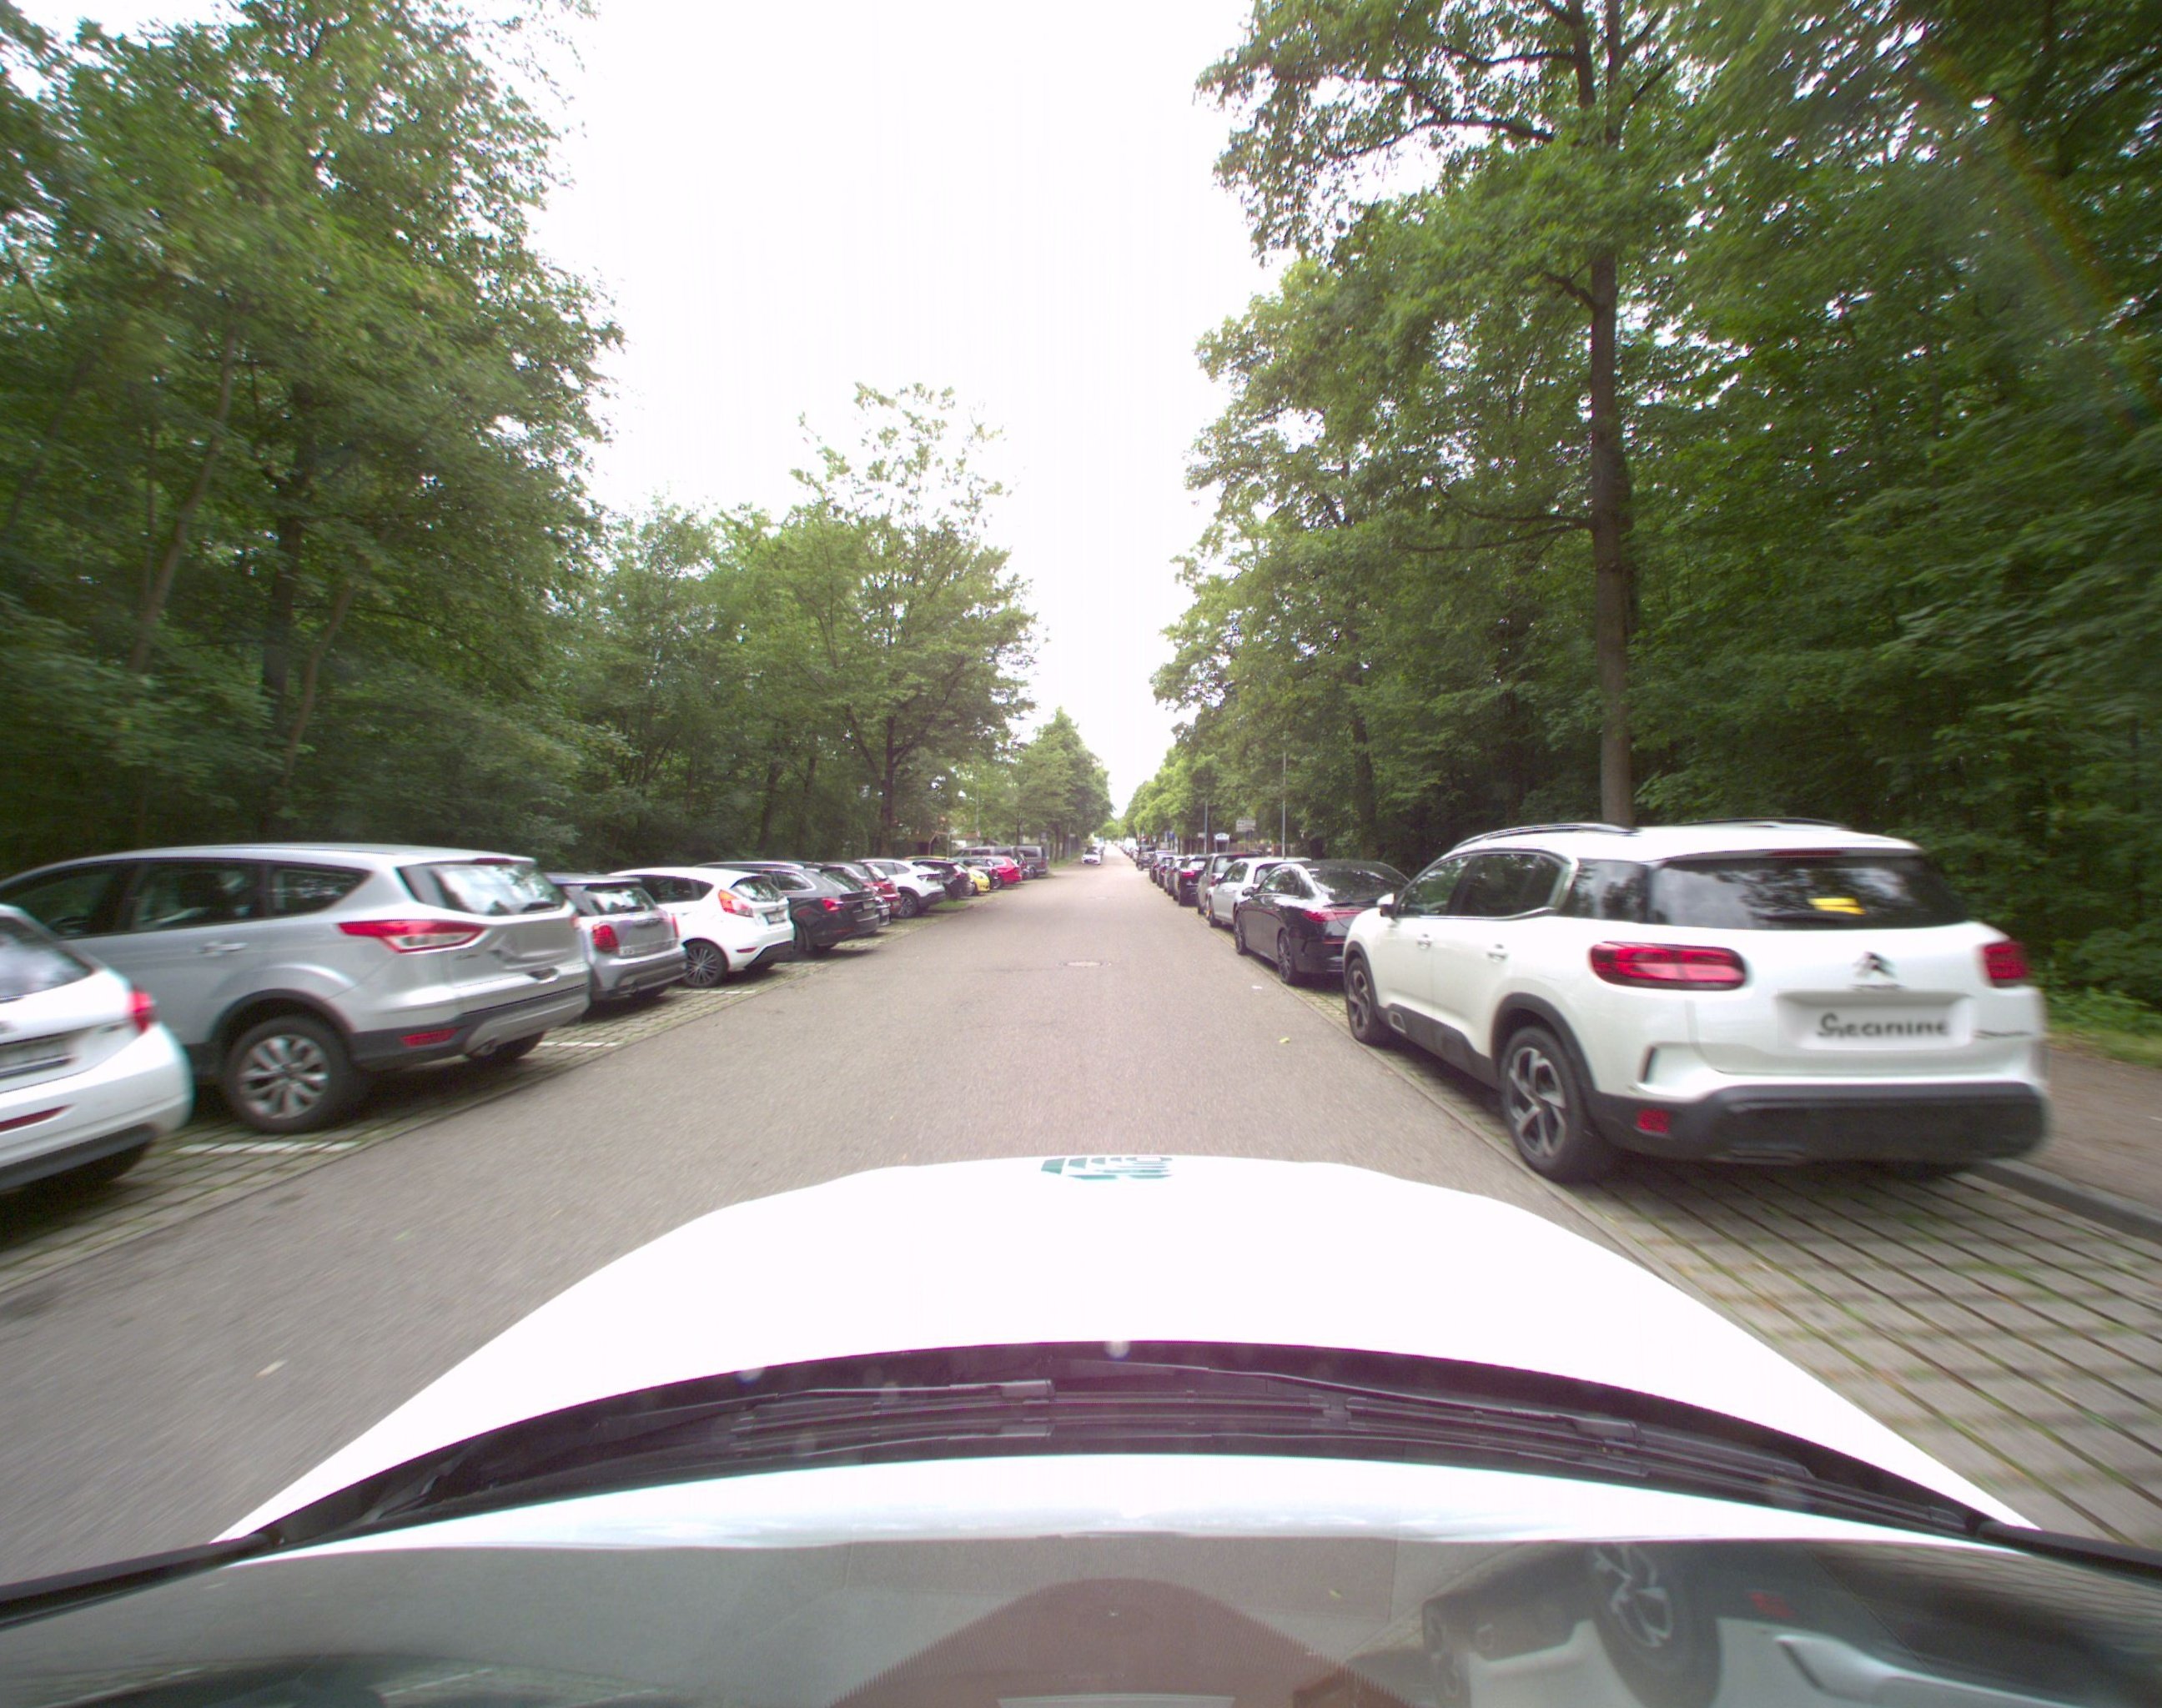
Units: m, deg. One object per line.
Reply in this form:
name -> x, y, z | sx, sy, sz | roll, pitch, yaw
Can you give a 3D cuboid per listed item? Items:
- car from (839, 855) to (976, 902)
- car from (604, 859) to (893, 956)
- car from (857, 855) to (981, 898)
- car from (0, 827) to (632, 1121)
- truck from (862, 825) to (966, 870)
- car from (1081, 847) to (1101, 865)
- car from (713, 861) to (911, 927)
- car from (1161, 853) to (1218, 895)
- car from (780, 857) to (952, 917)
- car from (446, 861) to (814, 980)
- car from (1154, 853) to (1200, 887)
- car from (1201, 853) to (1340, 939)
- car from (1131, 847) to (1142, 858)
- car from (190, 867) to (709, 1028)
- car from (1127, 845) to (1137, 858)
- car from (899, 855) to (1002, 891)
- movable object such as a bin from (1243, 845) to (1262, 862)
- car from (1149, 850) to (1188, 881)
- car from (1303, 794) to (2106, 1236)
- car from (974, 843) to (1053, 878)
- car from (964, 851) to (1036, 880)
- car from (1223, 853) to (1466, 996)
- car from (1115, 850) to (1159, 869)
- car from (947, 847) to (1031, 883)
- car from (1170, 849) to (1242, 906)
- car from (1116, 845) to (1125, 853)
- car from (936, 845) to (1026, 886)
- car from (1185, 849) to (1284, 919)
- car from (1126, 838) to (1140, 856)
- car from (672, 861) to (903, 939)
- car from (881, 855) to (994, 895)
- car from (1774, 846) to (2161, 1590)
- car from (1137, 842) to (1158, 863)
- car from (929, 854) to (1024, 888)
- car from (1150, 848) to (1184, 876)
car -> -5.491, 0.767, 26.134 | 3.972, 1.438, 1.716 | 0, 0, 2
car -> -5.245, 0.811, 13.161 | 3.969, 1.435, 1.679 | 0, 0, 3
car -> -5.678, 0.768, 28.869 | 3.972, 1.438, 1.734 | 0, 0, 2
car -> -5.630, 0.710, 5.650 | 3.973, 1.662, 1.814 | -1, 0, 0
truck -> -12.164, -0.466, 60.010 | 7.245, 3.236, 3.430 | 0, -1, -9
car -> 0.931, 0.170, 77.296 | 1.759, 1.596, 4.215 | 2, 0, 0
car -> -6.131, 0.883, 18.856 | 3.969, 1.435, 1.704 | 0, 0, 3
car -> 3.991, 0.699, 30.617 | 1.729, 1.432, 4.504 | 0, 0, 2
car -> -5.503, 0.824, 21.198 | 3.972, 1.467, 1.715 | 0, 0, 1
car -> -5.824, 0.838, 10.811 | 3.969, 1.435, 1.650 | 0, -2, 3
car -> 4.285, 0.671, 36.933 | 1.729, 1.432, 4.504 | 0, 0, 2
car -> 3.498, 0.709, 15.788 | 1.730, 1.425, 4.154 | 0, 0, 0
car -> 7.322, -0.219, 108.215 | 1.463, 1.531, 3.192 | 0, 0, 3
car -> -6.306, 0.883, 8.507 | 3.973, 1.421, 1.814 | -1, -1, 0
car -> 7.744, -0.366, 124.213 | 1.463, 1.967, 3.192 | 0, 0, 3
car -> -5.318, 0.758, 33.573 | 3.975, 1.438, 1.671 | 0, 0, -1
movable object such as a bin -> 14.771, -0.031, 70.015 | 1.293, 1.442, 1.066 | 0, -1, -42
car -> 4.518, 0.562, 42.501 | 1.729, 1.495, 4.236 | 0, 0, 2
car -> 3.012, 0.597, 5.573 | 1.730, 1.643, 5.074 | 0, 0, 2
car -> -3.946, 0.388, 48.404 | 4.487, 1.978, 1.891 | 0, -1, 0
car -> -4.581, 0.654, 46.283 | 3.797, 1.512, 1.812 | -1, 1, 4
car -> 3.142, 0.725, 10.763 | 1.730, 1.474, 4.605 | 0, 0, 0
car -> 4.411, 0.450, 65.034 | 1.880, 1.486, 3.968 | 0, -1, -24
car -> -4.582, 0.540, 41.033 | 3.974, 1.765, 1.824 | 0, 0, 0
car -> 3.731, 0.651, 24.972 | 1.729, 1.589, 4.385 | 0, 0, 2
car -> 9.637, -1.201, 197.907 | 1.984, 2.014, 4.006 | 0, -1, 6
car -> -4.704, 0.509, 38.598 | 3.972, 1.862, 1.814 | 0, 0, 1
car -> 3.695, 0.668, 20.293 | 1.730, 1.568, 4.008 | 0, 0, 0
car -> 8.797, -1.140, 137.749 | 2.175, 3.015, 4.902 | 0, 0, 3
car -> -5.751, 0.873, 16.251 | 3.969, 1.435, 1.679 | 0, 0, 3
car -> -5.455, 0.786, 31.187 | 3.972, 1.438, 1.618 | 0, 0, 2
car -> 2.930, 0.722, 0.157 | 1.729, 1.479, 4.773 | 0, 0, 3
car -> 6.516, -0.156, 79.750 | 1.979, 2.013, 4.112 | 0, 0, 3
car -> -4.589, 0.737, 36.192 | 3.974, 1.476, 1.779 | 0, 0, 0
car -> 5.044, 0.448, 48.424 | 1.729, 1.633, 4.378 | 0, 0, 2
